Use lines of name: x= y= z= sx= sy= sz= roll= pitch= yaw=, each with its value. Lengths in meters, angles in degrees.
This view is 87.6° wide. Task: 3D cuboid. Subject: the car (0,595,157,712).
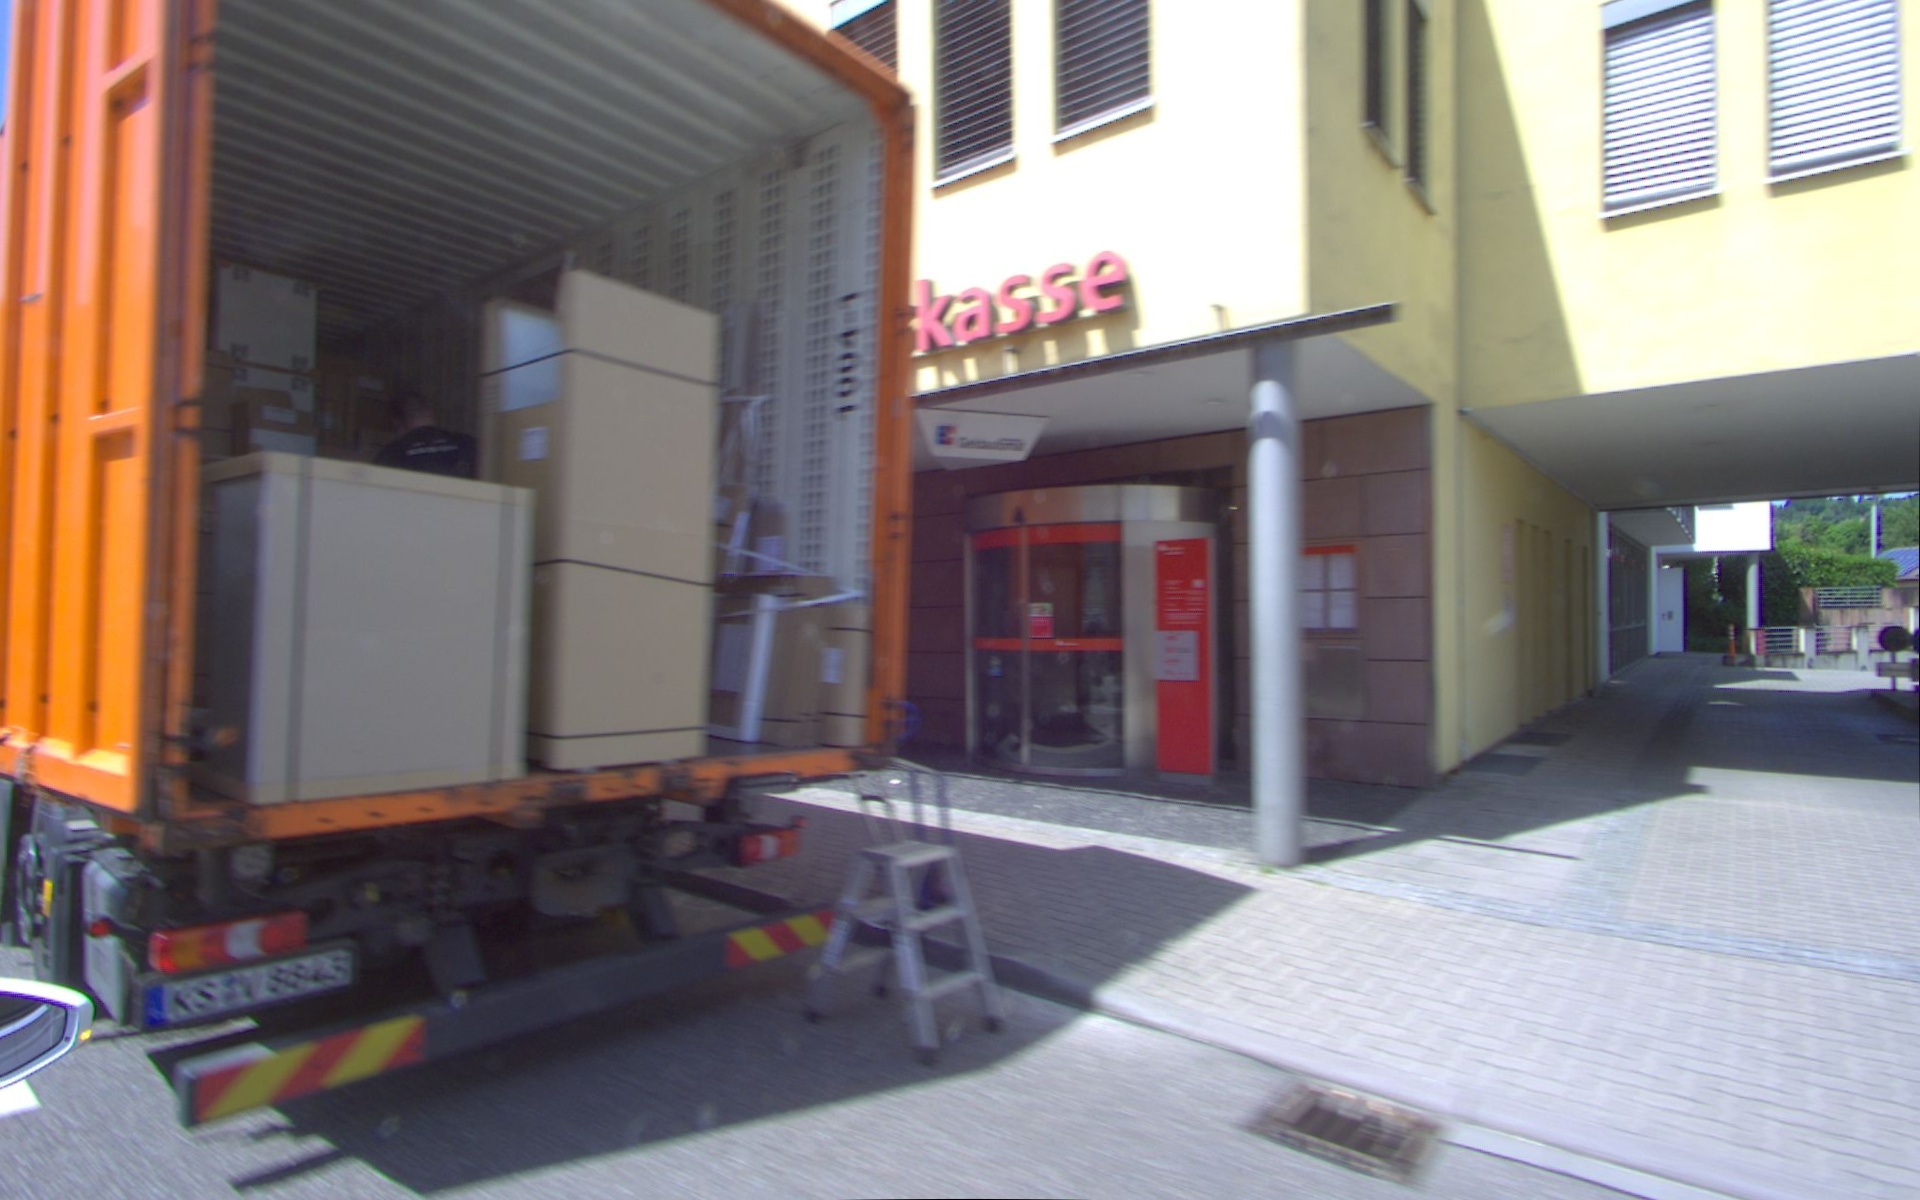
car: x=-15.527 y=0.836 z=17.263 sx=4.055 sy=1.732 sz=1.982 roll=-1 pitch=1 yaw=42

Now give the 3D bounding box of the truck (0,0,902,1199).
truck: x=-4.781 y=-0.420 z=6.599 sx=9.880 sy=3.996 sz=2.595 roll=-1 pitch=-1 yaw=42
